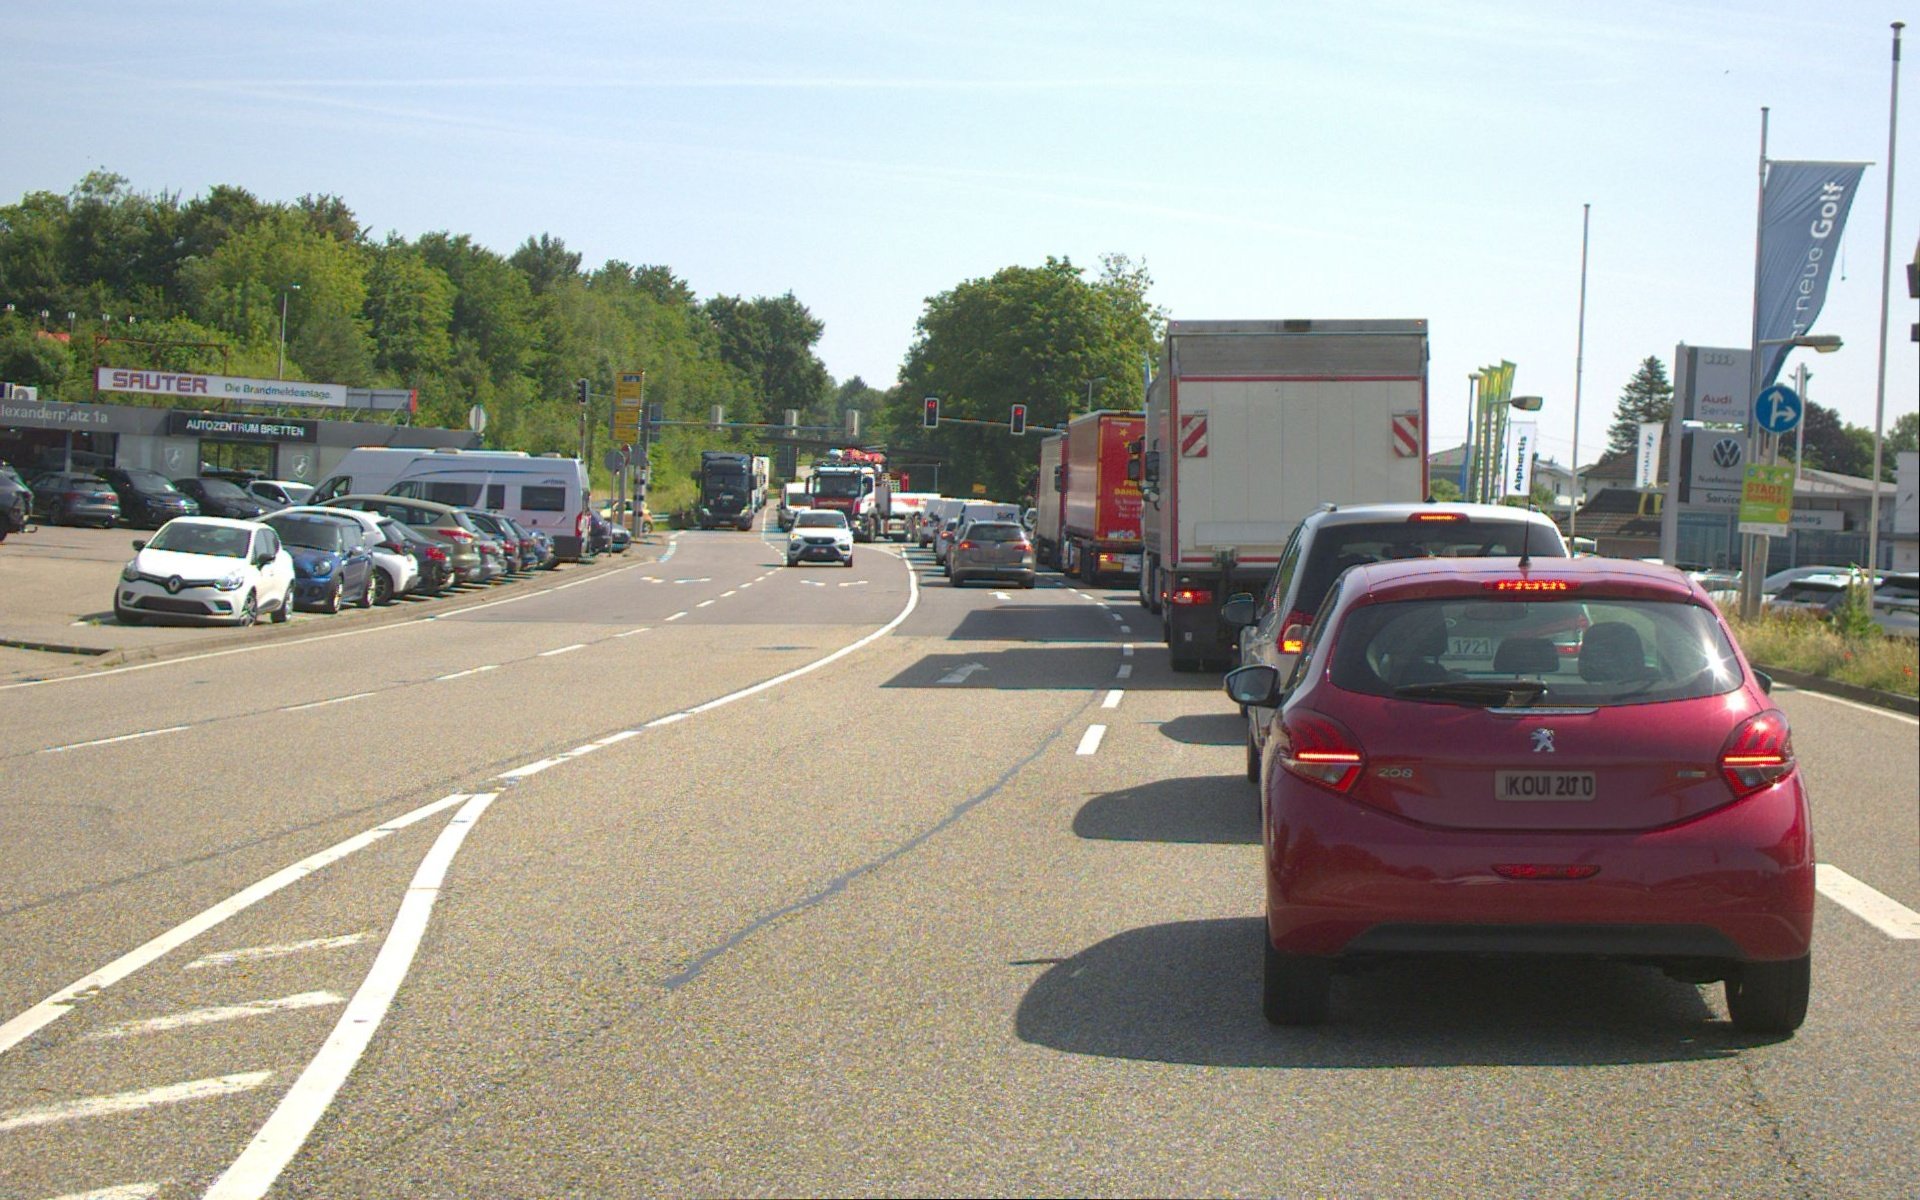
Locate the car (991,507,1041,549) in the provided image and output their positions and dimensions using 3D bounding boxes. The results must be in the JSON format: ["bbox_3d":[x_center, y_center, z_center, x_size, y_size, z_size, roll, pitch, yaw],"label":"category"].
[{"bbox_3d":[2.130,-2.736,130.926,1.727,1.514,3.312,3,1,-1],"label":"car"}]

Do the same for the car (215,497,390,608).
[{"bbox_3d":[-10.232,-0.763,53.762,1.779,1.489,3.782,6,1,1],"label":"car"}]

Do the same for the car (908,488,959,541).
[{"bbox_3d":[-1.005,-3.265,132.008,1.727,1.902,3.312,3,1,2],"label":"car"}]

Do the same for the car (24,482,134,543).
[{"bbox_3d":[-24.409,-2.434,95.183,1.763,1.582,3.829,1,2,-34],"label":"car"}]

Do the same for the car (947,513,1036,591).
[{"bbox_3d":[0.720,-1.070,75.208,1.790,1.632,3.503,1,1,3],"label":"car"}]

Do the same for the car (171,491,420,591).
[{"bbox_3d":[-11.000,-0.999,57.088,3.795,1.520,1.847,2,2,-2],"label":"car"}]

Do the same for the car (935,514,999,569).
[{"bbox_3d":[0.190,-1.702,99.864,1.727,1.514,3.312,2,1,-1],"label":"car"}]

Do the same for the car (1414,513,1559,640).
[{"bbox_3d":[7.855,-0.365,51.537,1.994,1.744,3.999,3,1,8],"label":"car"}]

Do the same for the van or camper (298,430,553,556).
[{"bbox_3d":[-13.215,-2.672,85.292,5.892,2.863,2.290,2,2,0],"label":"van or camper"}]

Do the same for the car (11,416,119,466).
[{"bbox_3d":[-28.089,-4.983,107.814,1.731,1.445,3.748,2,1,-41],"label":"car"}]

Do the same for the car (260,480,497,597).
[{"bbox_3d":[-10.467,-1.128,62.107,3.885,1.710,1.807,6,1,-2],"label":"car"}]

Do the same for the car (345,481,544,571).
[{"bbox_3d":[-10.798,-1.563,72.181,3.844,1.479,1.802,6,2,-2],"label":"car"}]

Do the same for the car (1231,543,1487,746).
[{"bbox_3d":[3.145,0.296,27.796,1.735,1.424,4.225,2,1,3],"label":"car"}]

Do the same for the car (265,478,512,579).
[{"bbox_3d":[-10.764,-1.360,64.938,4.276,1.479,1.836,6,2,-2],"label":"car"}]

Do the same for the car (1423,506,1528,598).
[{"bbox_3d":[10.566,-0.984,70.620,1.994,1.744,3.999,3,1,8],"label":"car"}]

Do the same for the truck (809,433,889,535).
[{"bbox_3d":[-4.709,-4.955,147.187,2.956,4.194,10.647,0,2,1],"label":"truck"}]

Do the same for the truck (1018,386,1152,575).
[{"bbox_3d":[3.674,-3.641,105.675,3.062,5.202,17.009,2,2,-1],"label":"truck"}]

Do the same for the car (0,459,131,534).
[{"bbox_3d":[-20.007,-2.240,73.997,3.936,1.527,1.770,1,2,-23],"label":"car"}]

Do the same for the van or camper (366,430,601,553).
[{"bbox_3d":[-11.446,-2.617,82.871,5.245,2.722,2.210,2,2,1],"label":"van or camper"}]

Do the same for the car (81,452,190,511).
[{"bbox_3d":[-23.320,-3.347,97.113,1.763,1.582,3.829,1,2,-34],"label":"car"}]

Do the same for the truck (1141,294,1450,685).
[{"bbox_3d":[3.626,-1.240,39.722,2.879,3.798,11.141,2,2,3],"label":"truck"}]

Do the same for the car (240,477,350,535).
[{"bbox_3d":[-19.386,-2.748,100.135,1.763,1.582,3.829,1,2,-34],"label":"car"}]

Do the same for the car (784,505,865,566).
[{"bbox_3d":[-3.752,-1.806,95.779,1.935,1.668,4.000,0,1,2],"label":"car"}]

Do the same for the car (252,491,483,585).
[{"bbox_3d":[-10.211,-1.078,59.463,3.707,1.520,1.792,1,2,-2],"label":"car"}]

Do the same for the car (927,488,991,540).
[{"bbox_3d":[-0.024,-2.723,109.322,1.727,1.514,3.312,3,1,4],"label":"car"}]

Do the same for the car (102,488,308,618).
[{"bbox_3d":[-10.214,-0.660,46.768,1.779,1.612,4.000,2,1,1],"label":"car"}]

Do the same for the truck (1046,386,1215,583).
[{"bbox_3d":[4.010,-2.828,84.853,2.957,4.255,16.586,2,2,-1],"label":"truck"}]

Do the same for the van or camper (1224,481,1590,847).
[{"bbox_3d":[2.460,0.269,19.996,1.747,1.781,5.133,2,1,4],"label":"van or camper"}]

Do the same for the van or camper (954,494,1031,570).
[{"bbox_3d":[0.839,-1.827,91.312,1.852,1.899,3.785,2,2,-1],"label":"van or camper"}]

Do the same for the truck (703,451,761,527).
[{"bbox_3d":[-11.598,-5.624,174.370,2.812,3.773,6.991,0,2,-5],"label":"truck"}]

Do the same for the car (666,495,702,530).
[{"bbox_3d":[-16.390,-5.180,204.217,1.993,2.007,4.001,2,1,-5],"label":"car"}]

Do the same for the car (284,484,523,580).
[{"bbox_3d":[-11.193,-1.375,69.364,4.458,1.479,1.772,6,2,-2],"label":"car"}]

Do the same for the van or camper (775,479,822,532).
[{"bbox_3d":[-8.075,-4.741,172.131,2.173,2.542,4.171,2,2,-1],"label":"van or camper"}]

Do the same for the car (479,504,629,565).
[{"bbox_3d":[-10.947,-1.777,92.825,3.816,1.534,1.843,2,2,-1],"label":"car"}]

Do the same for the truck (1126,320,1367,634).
[{"bbox_3d":[4.359,-1.913,55.809,2.890,4.251,16.710,2,2,2],"label":"truck"}]

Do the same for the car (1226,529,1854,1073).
[{"bbox_3d":[1.872,0.545,11.915,1.801,1.566,3.713,1,1,6],"label":"car"}]

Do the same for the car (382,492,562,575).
[{"bbox_3d":[-10.920,-1.493,77.051,3.707,1.479,1.708,6,2,-2],"label":"car"}]
